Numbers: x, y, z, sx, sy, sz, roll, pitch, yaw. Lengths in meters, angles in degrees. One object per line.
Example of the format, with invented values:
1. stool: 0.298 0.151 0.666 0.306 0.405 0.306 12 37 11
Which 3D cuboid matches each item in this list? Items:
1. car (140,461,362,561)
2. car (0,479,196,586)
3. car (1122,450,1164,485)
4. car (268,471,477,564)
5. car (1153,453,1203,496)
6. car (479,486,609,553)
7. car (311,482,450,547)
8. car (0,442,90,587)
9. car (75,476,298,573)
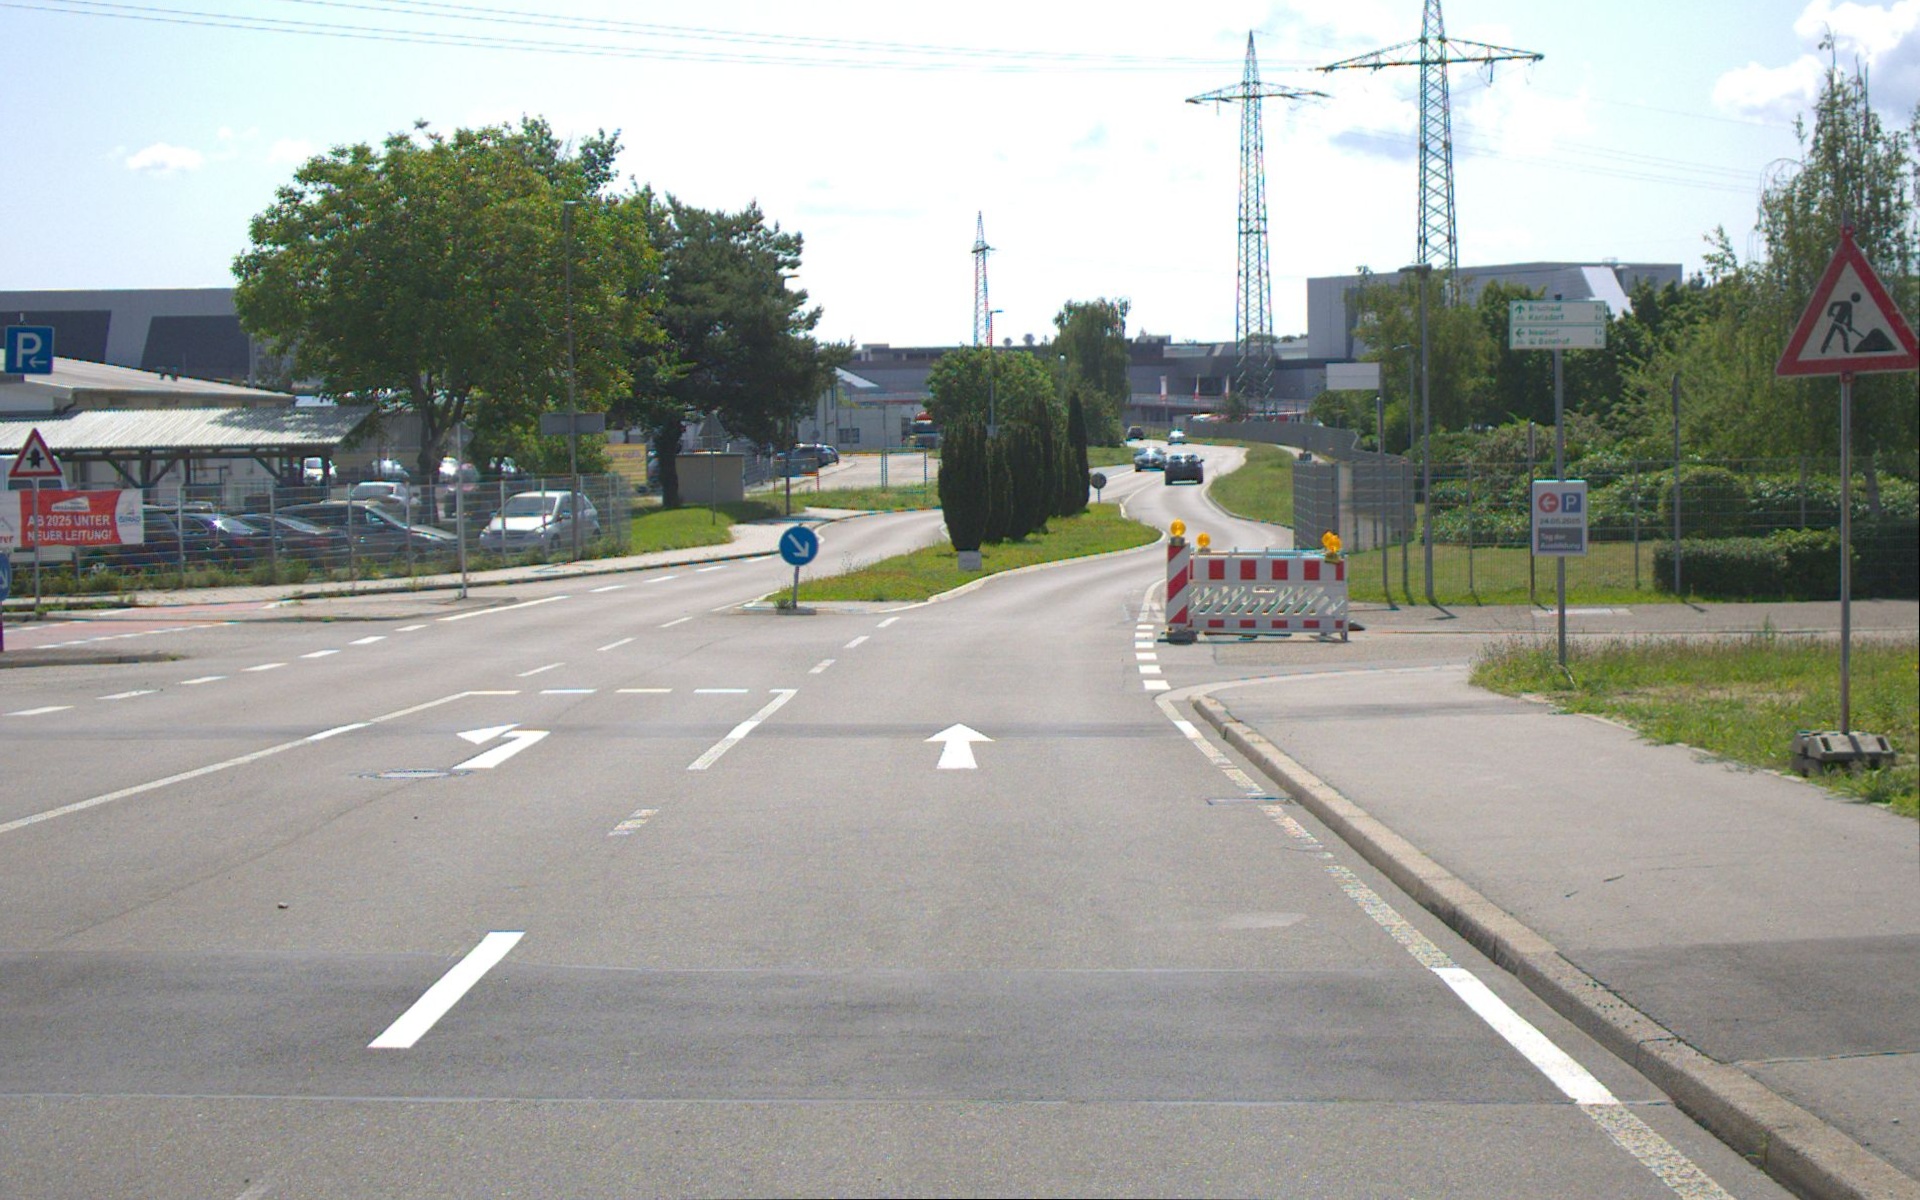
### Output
1. car: -14.313 -1.814 69.413 3.993 1.897 1.997 2 4 27
2. car: -16.713 -1.310 65.345 3.994 1.897 1.997 2 4 32
3. car: 11.269 -8.174 211.674 2.491 2.006 4.665 0 3 4
4. car: -12.732 -1.816 74.492 3.991 1.897 1.998 1 4 22
5. car: 10.741 -6.167 169.488 2.272 1.940 4.665 3 1 2
6. car: -9.822 -1.918 81.380 1.830 1.512 3.586 0 2 15
7. car: -17.114 -2.544 101.560 3.986 1.844 1.835 -1 2 -10
8. car: -18.400 -1.563 63.364 4.358 2.599 1.997 0 1 29
9. car: -15.170 -1.510 67.413 3.994 1.774 1.997 2 4 32
